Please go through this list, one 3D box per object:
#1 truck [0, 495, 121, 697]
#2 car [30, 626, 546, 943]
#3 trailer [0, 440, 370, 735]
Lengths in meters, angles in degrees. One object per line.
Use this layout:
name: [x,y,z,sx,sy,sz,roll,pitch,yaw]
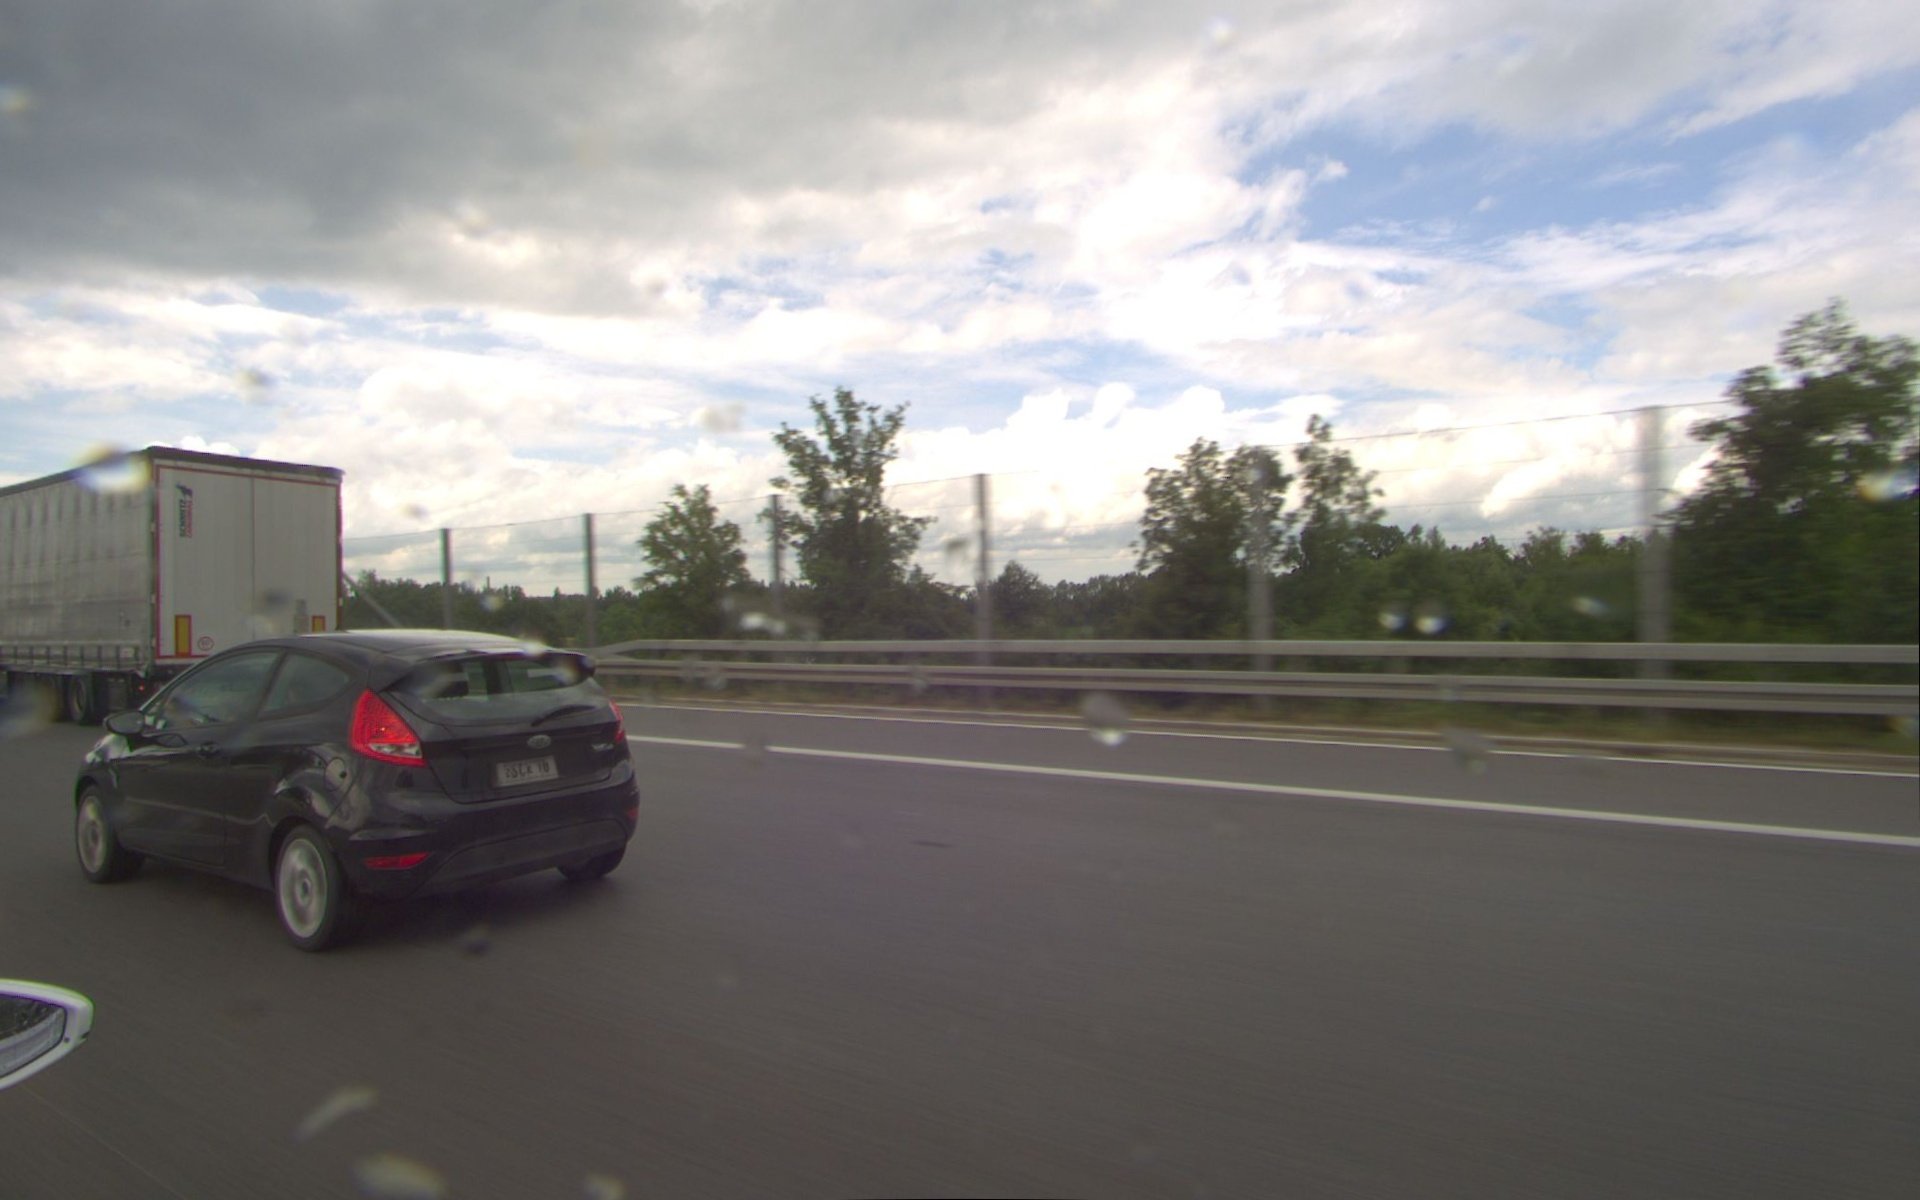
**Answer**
truck: [-21.908,-0.045,22.452,6.494,4.072,2.956,0,-1,32]
car: [-4.135,0.895,6.087,3.117,1.460,1.444,-1,-1,31]
trailer: [-16.264,-0.088,18.827,13.916,4.072,2.955,-1,-1,33]
